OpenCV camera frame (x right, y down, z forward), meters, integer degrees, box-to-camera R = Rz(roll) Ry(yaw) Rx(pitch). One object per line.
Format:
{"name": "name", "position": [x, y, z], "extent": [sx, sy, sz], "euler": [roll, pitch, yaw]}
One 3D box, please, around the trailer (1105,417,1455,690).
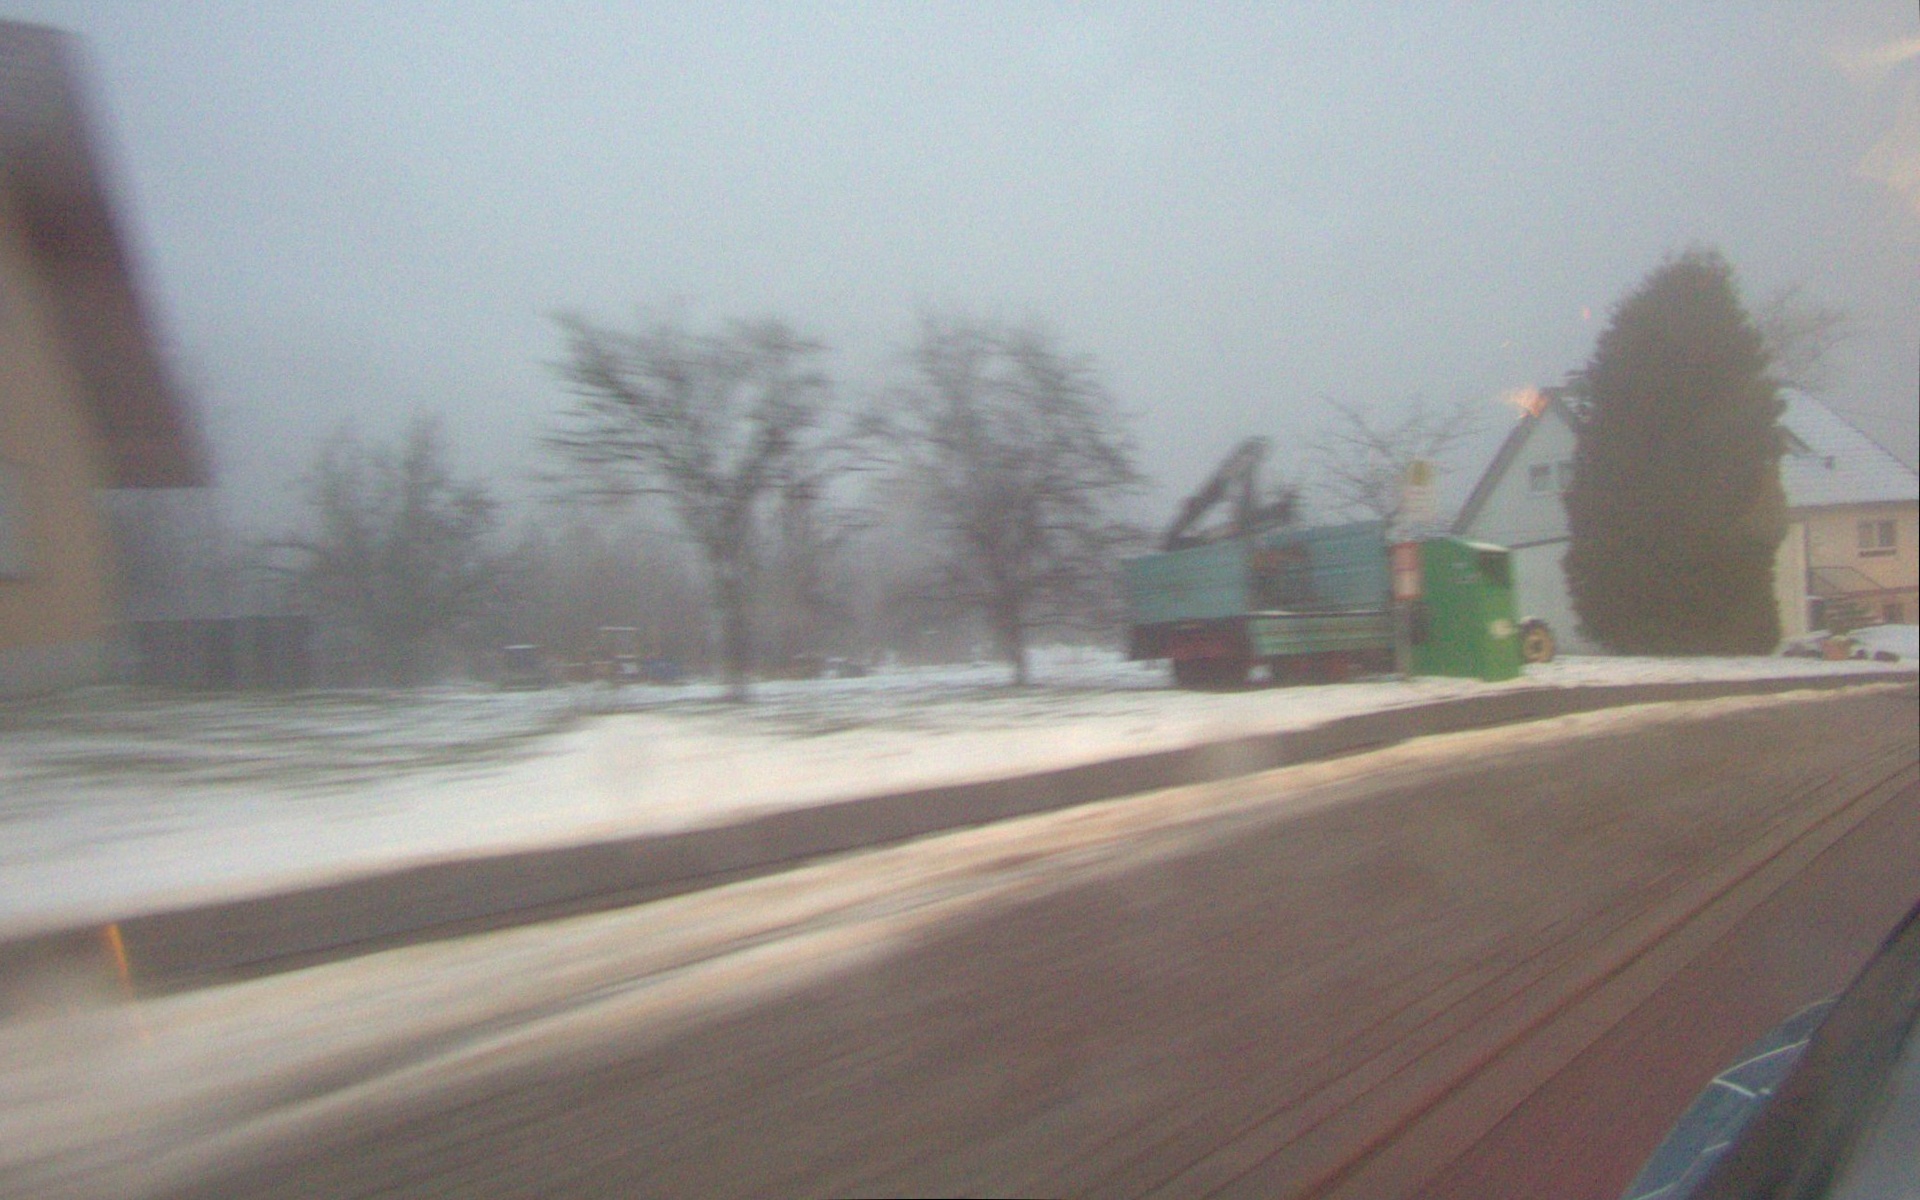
{"name": "trailer", "position": [5.111, -0.673, 16.009], "extent": [4.967, 3.605, 2.884], "euler": [-1, 1, -36]}

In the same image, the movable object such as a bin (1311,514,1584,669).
{"name": "movable object such as a bin", "position": [8.907, -0.194, 18.480], "extent": [4.425, 2.499, 2.397], "euler": [-1, 1, -30]}
